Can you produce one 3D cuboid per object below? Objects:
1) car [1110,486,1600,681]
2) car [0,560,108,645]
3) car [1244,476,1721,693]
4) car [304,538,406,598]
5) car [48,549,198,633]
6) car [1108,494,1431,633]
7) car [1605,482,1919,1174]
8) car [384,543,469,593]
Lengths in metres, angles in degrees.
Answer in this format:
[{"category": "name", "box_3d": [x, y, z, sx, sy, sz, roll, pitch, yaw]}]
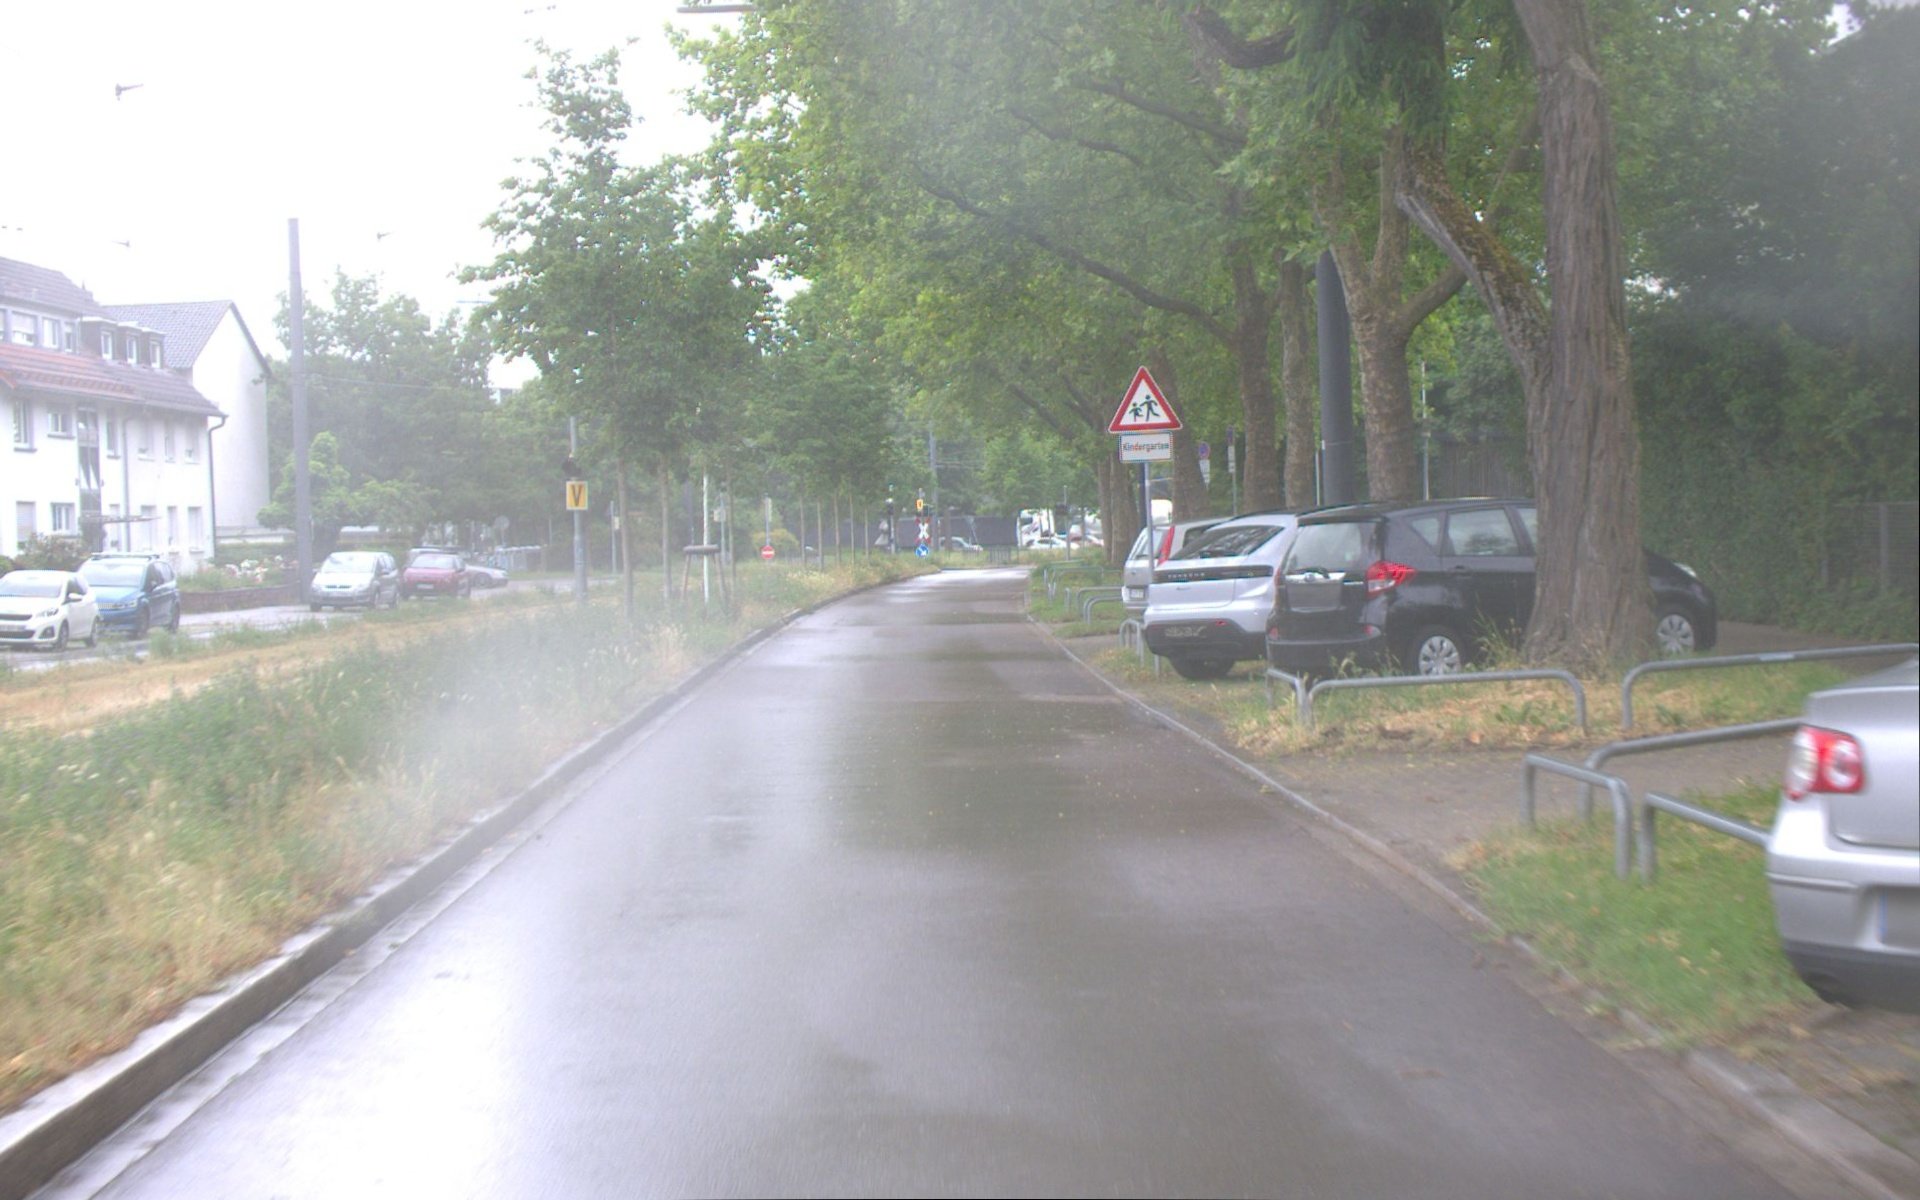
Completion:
[{"category": "car", "box_3d": [4.008, -0.195, 34.477, 4.761, 1.662, 1.994, -4, 2, -37]}, {"category": "car", "box_3d": [-17.322, 0.024, 64.408, 1.796, 1.483, 3.597, 0, 2, 0]}, {"category": "car", "box_3d": [4.338, -0.154, 28.394, 3.703, 1.561, 1.619, -4, 2, -33]}, {"category": "car", "box_3d": [-16.678, -0.903, 94.985, 1.993, 1.575, 4.517, 0, 2, 0]}, {"category": "car", "box_3d": [-17.237, -0.209, 71.036, 1.993, 1.608, 4.413, 0, 2, 0]}, {"category": "car", "box_3d": [4.076, -0.493, 45.445, 3.854, 1.561, 1.620, -4, 2, -14]}, {"category": "car", "box_3d": [4.080, 0.352, 9.060, 4.547, 1.539, 1.887, -6, 3, -33]}, {"category": "car", "box_3d": [-16.833, -1.026, 108.659, 1.993, 1.483, 4.206, 0, 2, 0]}]
